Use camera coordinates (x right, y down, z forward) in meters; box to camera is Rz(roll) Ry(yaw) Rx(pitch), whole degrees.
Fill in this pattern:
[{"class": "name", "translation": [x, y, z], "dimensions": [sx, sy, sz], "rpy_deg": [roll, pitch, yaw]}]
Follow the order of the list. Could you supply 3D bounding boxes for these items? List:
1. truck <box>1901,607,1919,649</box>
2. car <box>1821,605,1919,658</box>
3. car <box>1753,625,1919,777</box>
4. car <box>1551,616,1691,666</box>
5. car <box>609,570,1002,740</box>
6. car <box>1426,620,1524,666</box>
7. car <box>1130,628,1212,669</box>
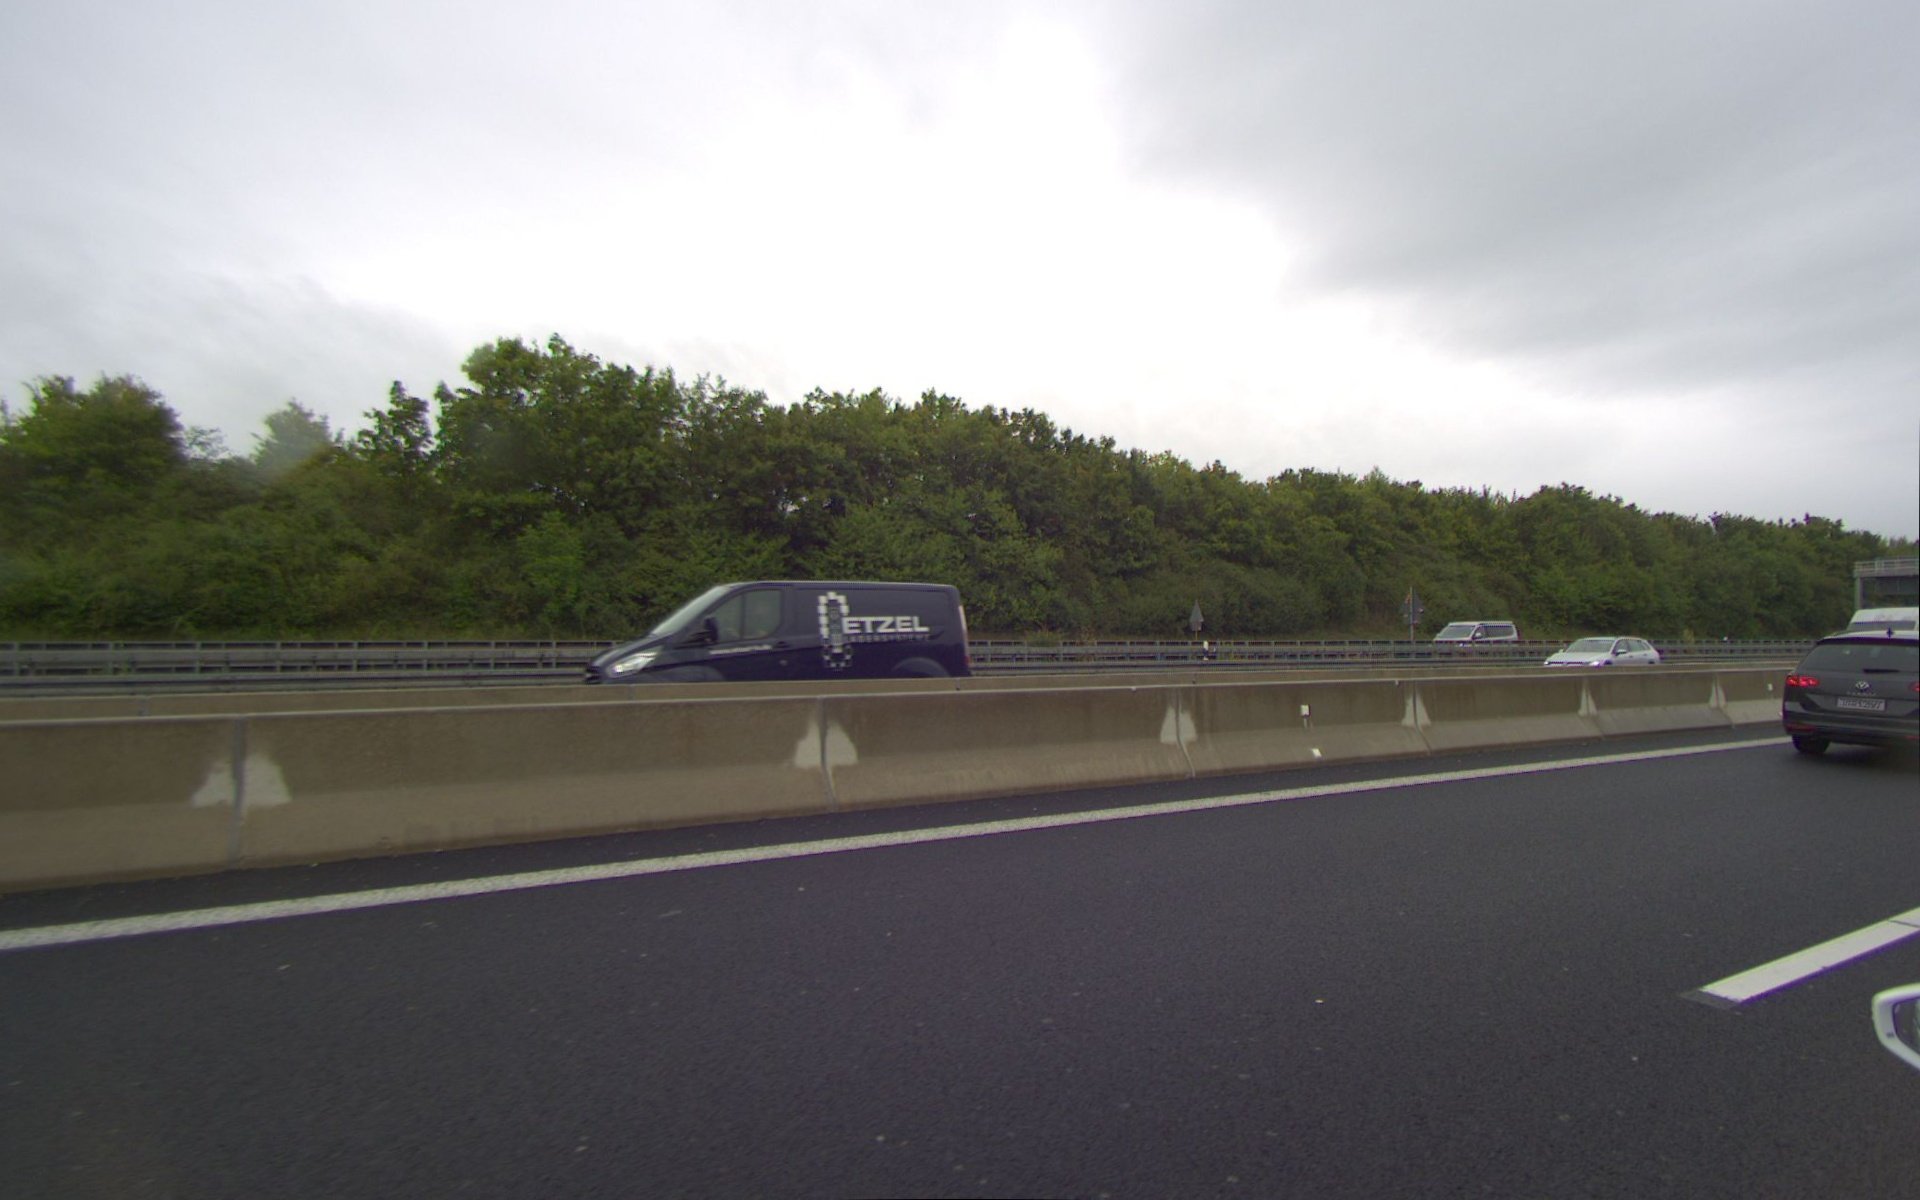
[{"class": "truck", "translation": [87.703, 2.556, 89.916], "dimensions": [9.450, 3.709, 2.671], "rpy_deg": [1, -1, -32]}, {"class": "car", "translation": [32.520, 1.095, 34.923], "dimensions": [5.841, 1.715, 2.345], "rpy_deg": [1, -1, -32]}, {"class": "car", "translation": [11.410, 1.081, 11.699], "dimensions": [4.745, 1.478, 1.779], "rpy_deg": [1, 0, -30]}, {"class": "car", "translation": [21.357, 1.293, 32.411], "dimensions": [4.626, 1.454, 1.983], "rpy_deg": [1, 0, -31]}, {"class": "car", "translation": [-1.926, 0.626, 13.024], "dimensions": [4.627, 1.861, 1.983], "rpy_deg": [1, 0, -32]}, {"class": "car", "translation": [24.351, 2.015, 47.472], "dimensions": [4.663, 2.040, 1.983], "rpy_deg": [2, 0, -32]}, {"class": "car", "translation": [10.795, 2.453, 51.224], "dimensions": [3.952, 2.040, 1.742], "rpy_deg": [1, -1, -30]}]
